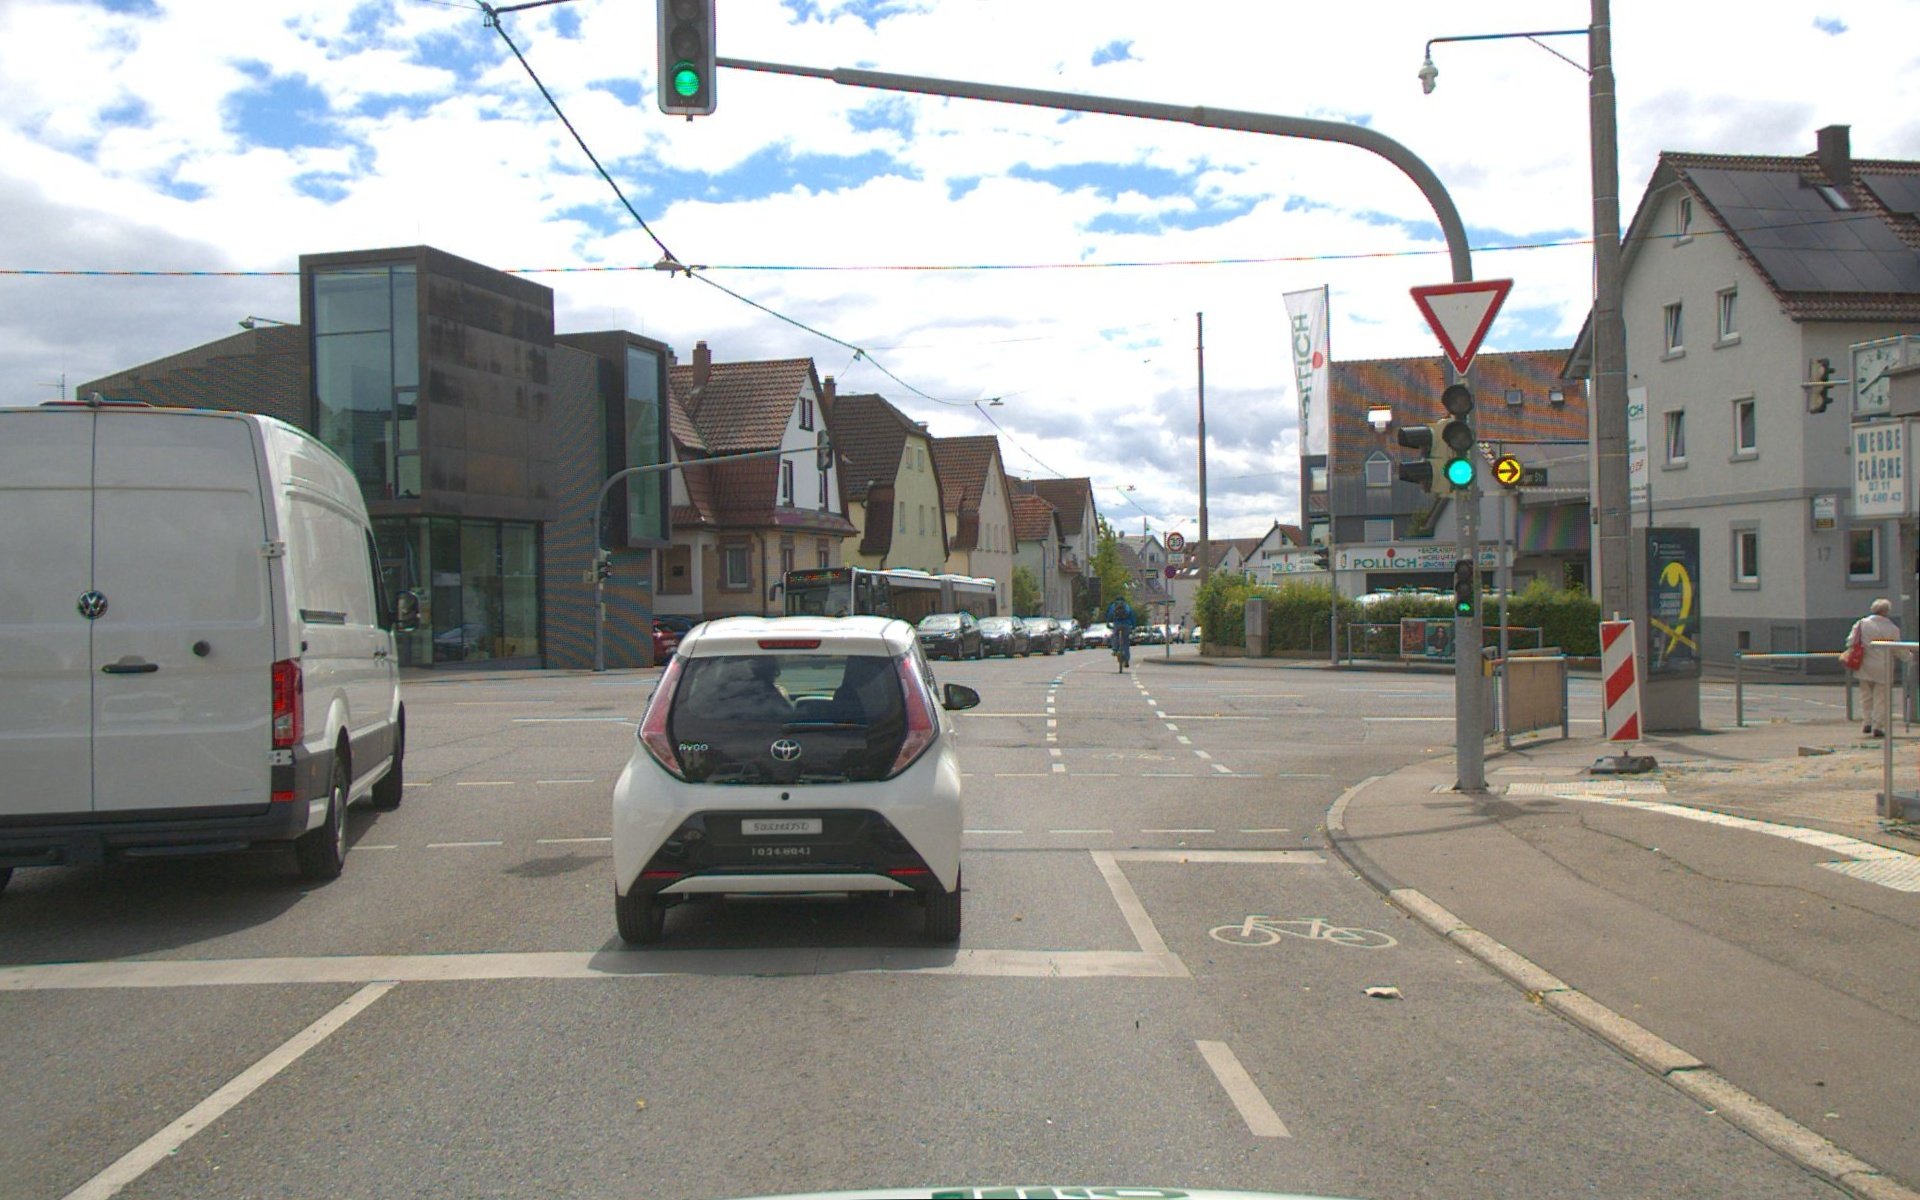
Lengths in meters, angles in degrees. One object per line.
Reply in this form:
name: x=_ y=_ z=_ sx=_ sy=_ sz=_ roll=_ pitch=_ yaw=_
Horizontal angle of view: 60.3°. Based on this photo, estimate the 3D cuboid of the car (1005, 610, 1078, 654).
car: x=3.217 y=1.213 z=64.667 sx=1.951 sy=1.668 sz=4.002 roll=0 pitch=0 yaw=17

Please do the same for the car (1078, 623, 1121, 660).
car: x=8.079 y=2.394 z=95.597 sx=1.951 sy=2.049 sz=4.003 roll=0 pitch=0 yaw=12

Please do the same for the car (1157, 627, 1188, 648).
car: x=17.824 y=3.103 z=138.592 sx=1.951 sy=1.668 sz=4.002 roll=0 pitch=0 yaw=17

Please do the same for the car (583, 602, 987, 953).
car: x=-0.721 y=0.762 z=8.832 sx=1.702 sy=1.486 sz=3.532 roll=0 pitch=0 yaw=1

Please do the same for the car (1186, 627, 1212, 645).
car: x=23.137 y=3.463 z=159.776 sx=1.951 sy=1.668 sz=4.002 roll=0 pitch=0 yaw=17

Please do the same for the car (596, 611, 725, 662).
car: x=-10.349 y=1.250 z=57.240 sx=3.902 sy=1.713 sz=2.002 roll=-1 pitch=-1 yaw=13

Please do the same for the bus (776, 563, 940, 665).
bus: x=-3.205 y=0.449 z=55.157 sx=2.719 sy=3.114 sz=9.197 roll=0 pitch=0 yaw=15

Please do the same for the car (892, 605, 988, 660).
car: x=-0.586 y=1.006 z=52.440 sx=1.951 sy=1.668 sz=4.002 roll=0 pitch=0 yaw=17

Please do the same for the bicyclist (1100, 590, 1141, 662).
bicyclist: x=3.710 y=0.599 z=38.305 sx=0.823 sy=1.642 sz=1.083 roll=0 pitch=0 yaw=0

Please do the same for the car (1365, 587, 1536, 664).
car: x=13.064 y=0.671 z=44.146 sx=3.914 sy=1.982 sz=1.995 roll=0 pitch=-1 yaw=-10

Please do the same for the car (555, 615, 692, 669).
car: x=-11.049 y=1.353 z=54.411 sx=3.902 sy=1.668 sz=2.002 roll=1 pitch=0 yaw=13

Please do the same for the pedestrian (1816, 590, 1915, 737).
pedestrian: x=10.537 y=0.728 z=19.270 sx=0.816 sy=1.666 sz=0.874 roll=0 pitch=-2 yaw=16

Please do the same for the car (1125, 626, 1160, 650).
car: x=13.693 y=2.847 z=123.993 sx=1.951 sy=1.668 sz=4.002 roll=0 pitch=0 yaw=17

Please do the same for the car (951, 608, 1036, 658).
car: x=1.213 y=1.115 z=57.617 sx=1.951 sy=1.668 sz=4.186 roll=0 pitch=0 yaw=17

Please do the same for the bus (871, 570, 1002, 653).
bus: x=-0.755 y=0.430 z=64.206 sx=2.719 sy=2.966 sz=9.197 roll=0 pitch=0 yaw=15

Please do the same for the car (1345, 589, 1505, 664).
car: x=13.116 y=0.735 z=46.749 sx=3.913 sy=2.049 sz=1.996 roll=0 pitch=0 yaw=-9

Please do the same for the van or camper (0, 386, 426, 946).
van or camper: x=-4.808 y=0.318 z=10.611 sx=2.071 sy=2.632 sz=5.626 roll=-2 pitch=0 yaw=-13

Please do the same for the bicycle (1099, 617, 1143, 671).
bicycle: x=3.710 y=0.998 z=38.213 sx=0.815 sy=1.184 sz=2.192 roll=0 pitch=0 yaw=1
